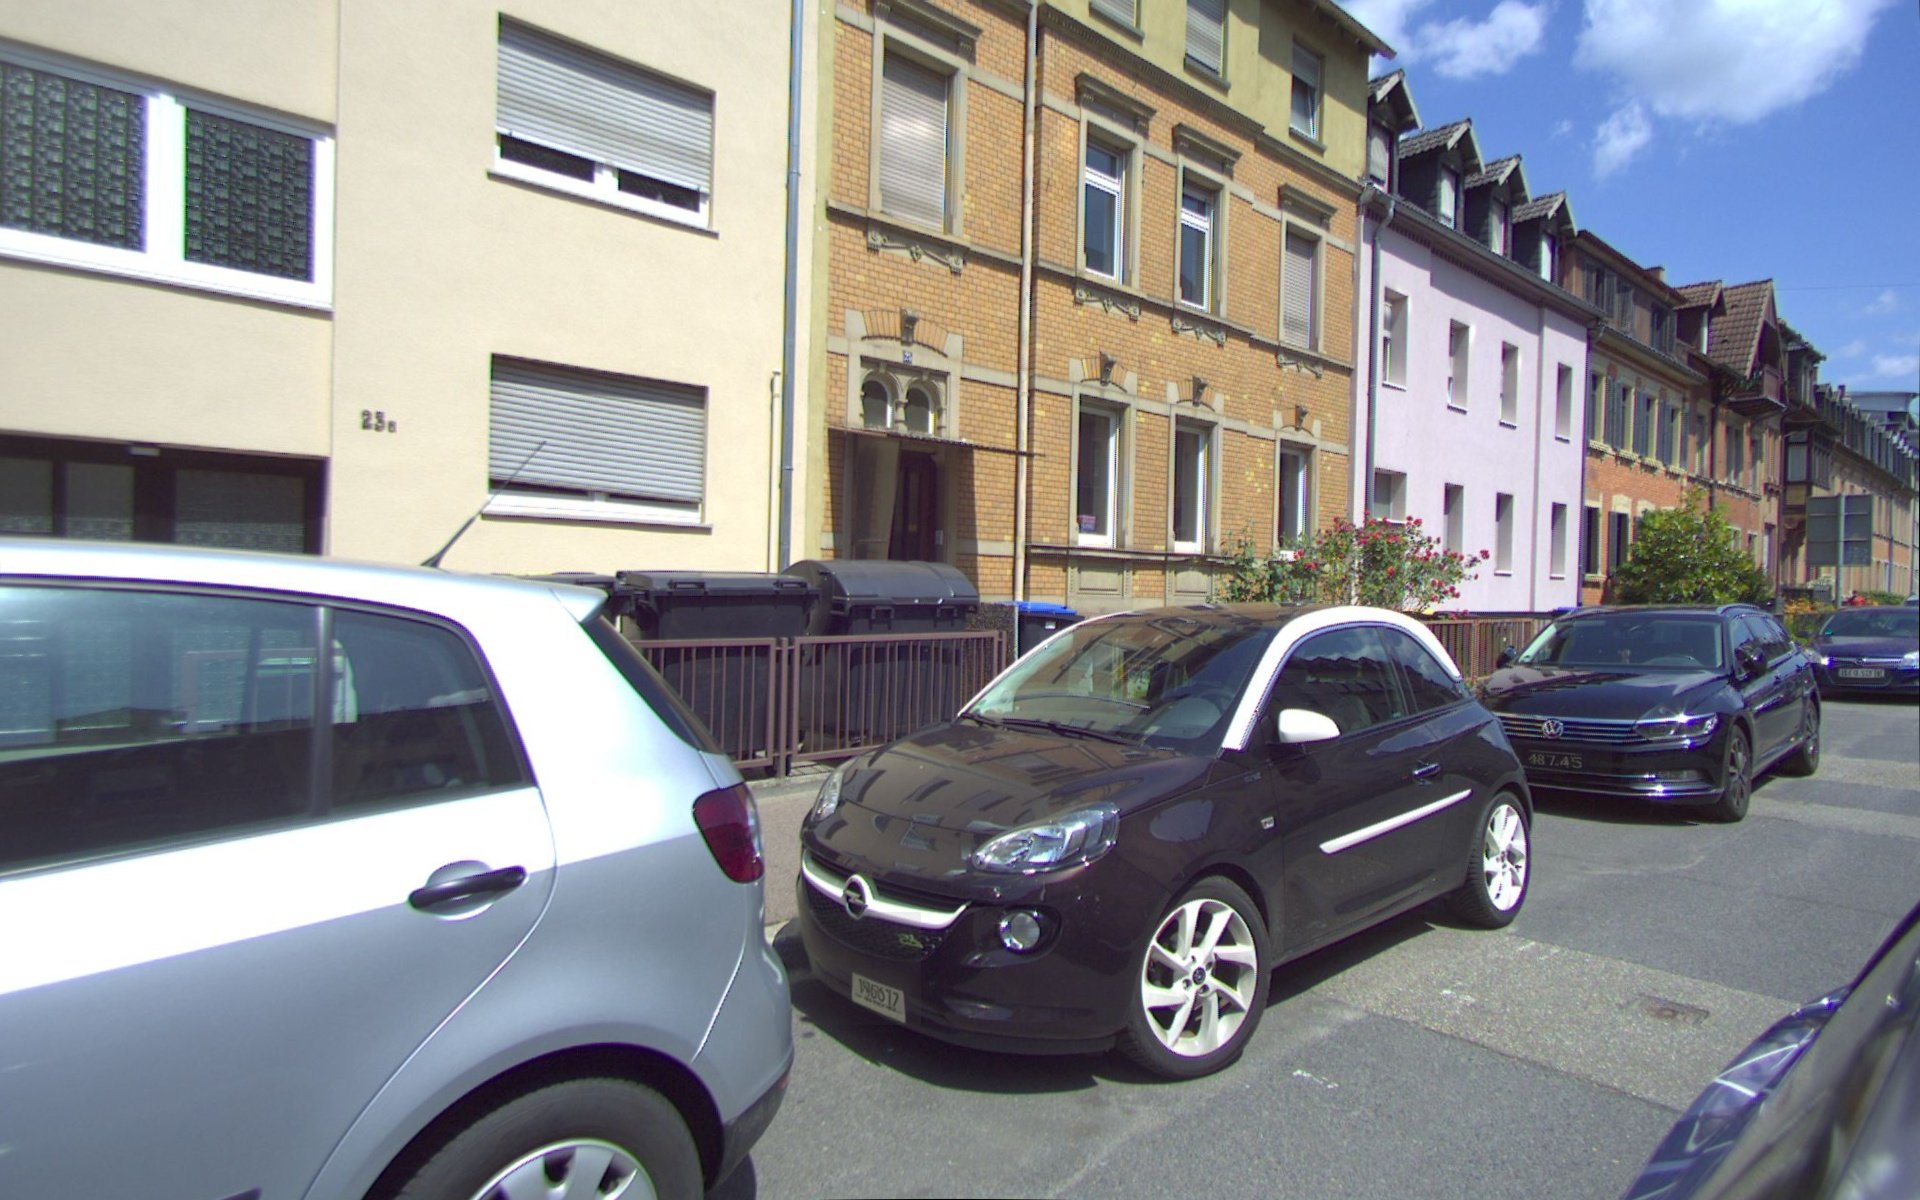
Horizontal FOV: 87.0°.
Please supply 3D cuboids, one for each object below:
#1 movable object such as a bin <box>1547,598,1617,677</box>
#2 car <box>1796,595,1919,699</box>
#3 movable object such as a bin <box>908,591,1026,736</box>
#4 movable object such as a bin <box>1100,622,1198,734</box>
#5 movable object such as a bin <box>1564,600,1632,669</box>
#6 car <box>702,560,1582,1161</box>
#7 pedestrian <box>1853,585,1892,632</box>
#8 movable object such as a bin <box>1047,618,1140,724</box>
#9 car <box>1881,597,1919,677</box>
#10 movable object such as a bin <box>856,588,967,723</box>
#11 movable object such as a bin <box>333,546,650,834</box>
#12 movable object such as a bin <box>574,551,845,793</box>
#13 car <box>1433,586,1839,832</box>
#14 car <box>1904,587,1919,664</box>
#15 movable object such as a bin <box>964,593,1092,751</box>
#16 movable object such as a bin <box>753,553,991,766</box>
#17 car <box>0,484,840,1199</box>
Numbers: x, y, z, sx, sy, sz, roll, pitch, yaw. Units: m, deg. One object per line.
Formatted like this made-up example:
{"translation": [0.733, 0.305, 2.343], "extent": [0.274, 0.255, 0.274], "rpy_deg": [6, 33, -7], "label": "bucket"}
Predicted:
{"translation": [10.290, 0.600, 16.750], "extent": [0.862, 1.257, 0.752], "rpy_deg": [0, 1, -42], "label": "movable object such as a bin"}
{"translation": [14.845, 0.684, 16.163], "extent": [3.863, 1.498, 1.706], "rpy_deg": [0, -1, -42], "label": "car"}
{"translation": [0.060, 0.526, 8.912], "extent": [0.734, 1.182, 0.722], "rpy_deg": [1, 1, -42], "label": "movable object such as a bin"}
{"translation": [1.726, 0.690, 9.241], "extent": [0.601, 0.940, 0.625], "rpy_deg": [1, 1, -42], "label": "movable object such as a bin"}
{"translation": [10.906, 0.567, 17.305], "extent": [0.862, 1.111, 0.752], "rpy_deg": [0, 1, -42], "label": "movable object such as a bin"}
{"translation": [1.039, 0.664, 4.464], "extent": [3.861, 1.498, 1.761], "rpy_deg": [0, -1, -40], "label": "car"}
{"translation": [37.201, 0.338, 41.268], "extent": [0.964, 1.885, 1.056], "rpy_deg": [1, 1, -41], "label": "pedestrian"}
{"translation": [1.277, 0.655, 9.707], "extent": [0.601, 0.940, 0.625], "rpy_deg": [1, 1, -42], "label": "movable object such as a bin"}
{"translation": [19.498, 0.687, 19.849], "extent": [3.863, 1.498, 1.706], "rpy_deg": [0, -1, -42], "label": "car"}
{"translation": [-0.454, 0.489, 9.454], "extent": [0.734, 1.182, 0.722], "rpy_deg": [1, 1, -42], "label": "movable object such as a bin"}
{"translation": [-2.739, 0.425, 5.899], "extent": [1.388, 1.413, 1.285], "rpy_deg": [0, 1, -40], "label": "movable object such as a bin"}
{"translation": [-1.699, 0.402, 6.826], "extent": [1.340, 1.413, 1.285], "rpy_deg": [0, 1, -40], "label": "movable object such as a bin"}
{"translation": [5.698, 0.678, 8.298], "extent": [4.343, 1.498, 1.759], "rpy_deg": [0, -1, -42], "label": "car"}
{"translation": [23.496, 0.565, 23.645], "extent": [3.863, 1.732, 1.706], "rpy_deg": [0, -1, -42], "label": "car"}
{"translation": [0.559, 0.553, 8.341], "extent": [0.734, 1.203, 0.722], "rpy_deg": [1, 1, -42], "label": "movable object such as a bin"}
{"translation": [-0.677, 0.380, 7.676], "extent": [1.281, 1.428, 1.285], "rpy_deg": [0, 1, -40], "label": "movable object such as a bin"}
{"translation": [-2.334, 0.650, 1.481], "extent": [3.993, 1.571, 1.761], "rpy_deg": [0, -1, -40], "label": "car"}
